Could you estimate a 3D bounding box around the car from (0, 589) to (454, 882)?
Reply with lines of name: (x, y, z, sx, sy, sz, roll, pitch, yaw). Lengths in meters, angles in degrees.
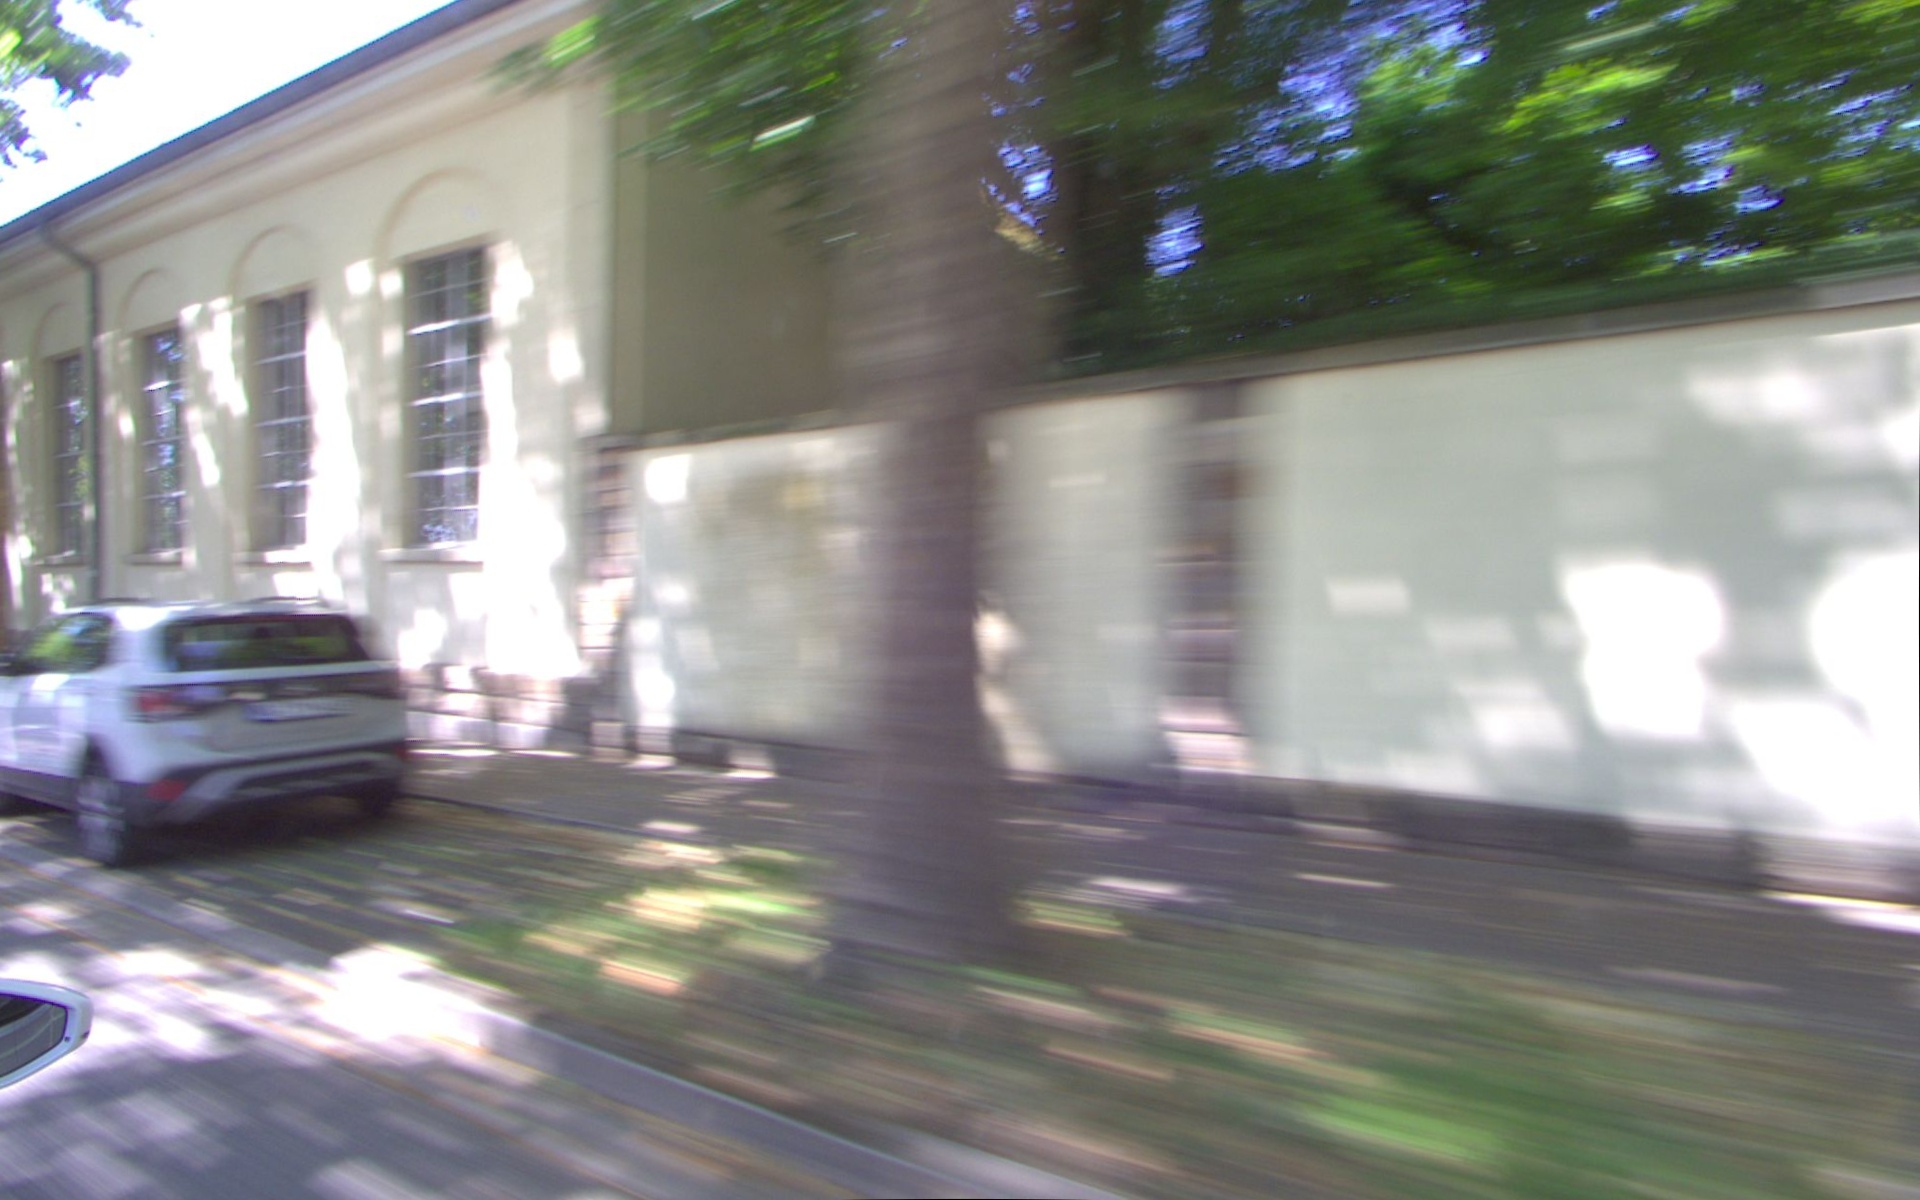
car: (-5.935, 0.718, 7.456, 4.712, 1.578, 1.736, 0, 2, 33)
